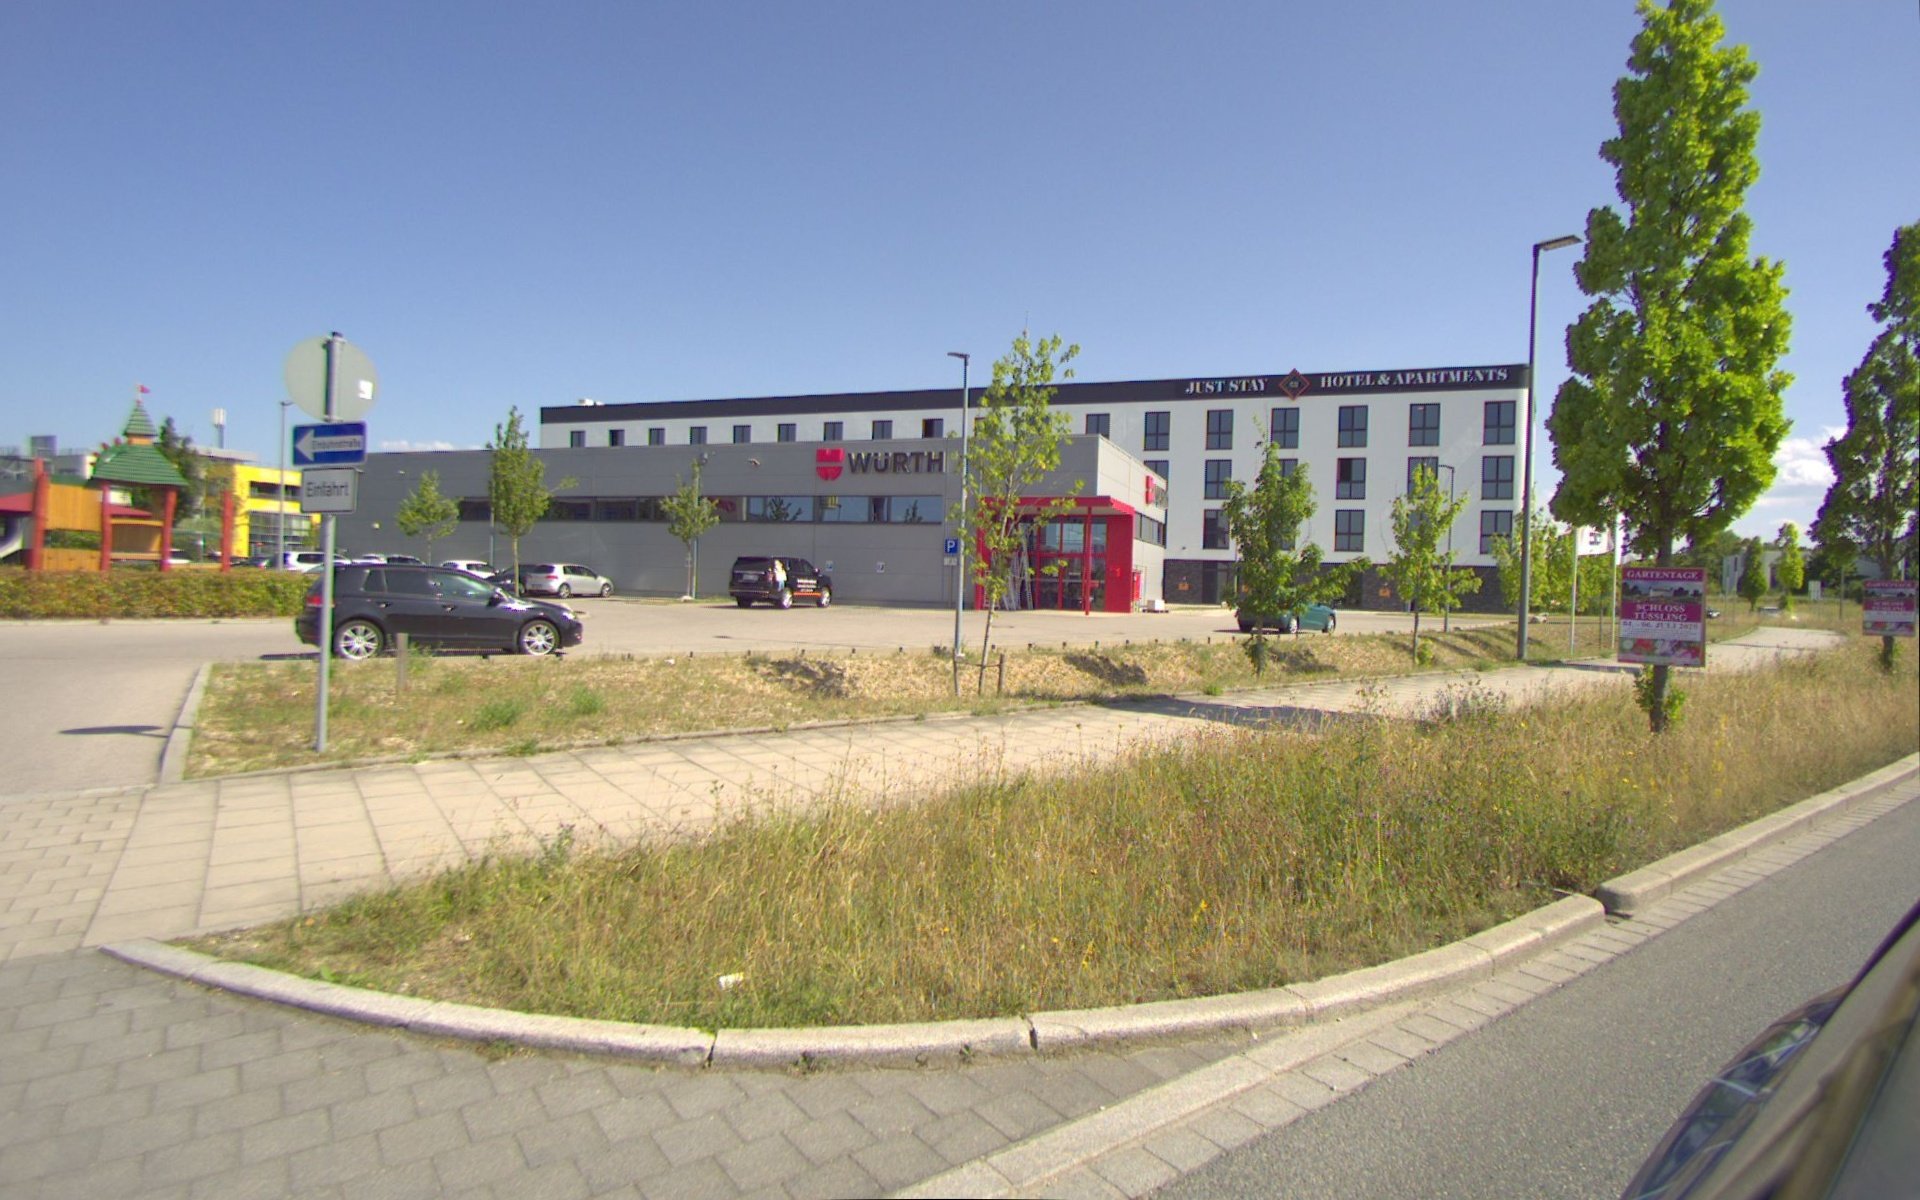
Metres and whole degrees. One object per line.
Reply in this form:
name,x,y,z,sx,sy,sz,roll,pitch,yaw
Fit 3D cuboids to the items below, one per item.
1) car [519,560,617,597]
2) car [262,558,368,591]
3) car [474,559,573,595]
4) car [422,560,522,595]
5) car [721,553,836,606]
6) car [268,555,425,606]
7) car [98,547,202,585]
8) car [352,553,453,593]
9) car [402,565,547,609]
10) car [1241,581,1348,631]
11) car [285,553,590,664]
car,-16.818,-0.914,43.596,1.681,1.480,4.082,1,1,20
car,-30.606,-1.223,48.128,1.681,1.480,4.082,1,1,20
car,-19.124,-1.004,44.539,1.681,1.480,4.082,1,1,20
car,-21.963,-1.010,45.735,1.681,1.480,4.082,1,1,20
car,-6.779,-0.762,38.390,2.025,1.838,4.889,2,1,22
car,-19.527,-0.628,32.426,1.680,1.490,4.207,1,1,19
car,-41.067,-1.718,51.299,4.867,1.838,2.034,2,1,23
car,-26.083,-1.265,47.470,1.681,1.779,4.082,1,1,20
car,-14.808,-0.421,31.102,1.633,1.227,4.110,1,1,19
car,10.411,0.166,31.365,3.935,1.425,1.514,0,1,-45
car,-8.285,0.091,16.201,4.092,1.559,1.785,0,1,-38
